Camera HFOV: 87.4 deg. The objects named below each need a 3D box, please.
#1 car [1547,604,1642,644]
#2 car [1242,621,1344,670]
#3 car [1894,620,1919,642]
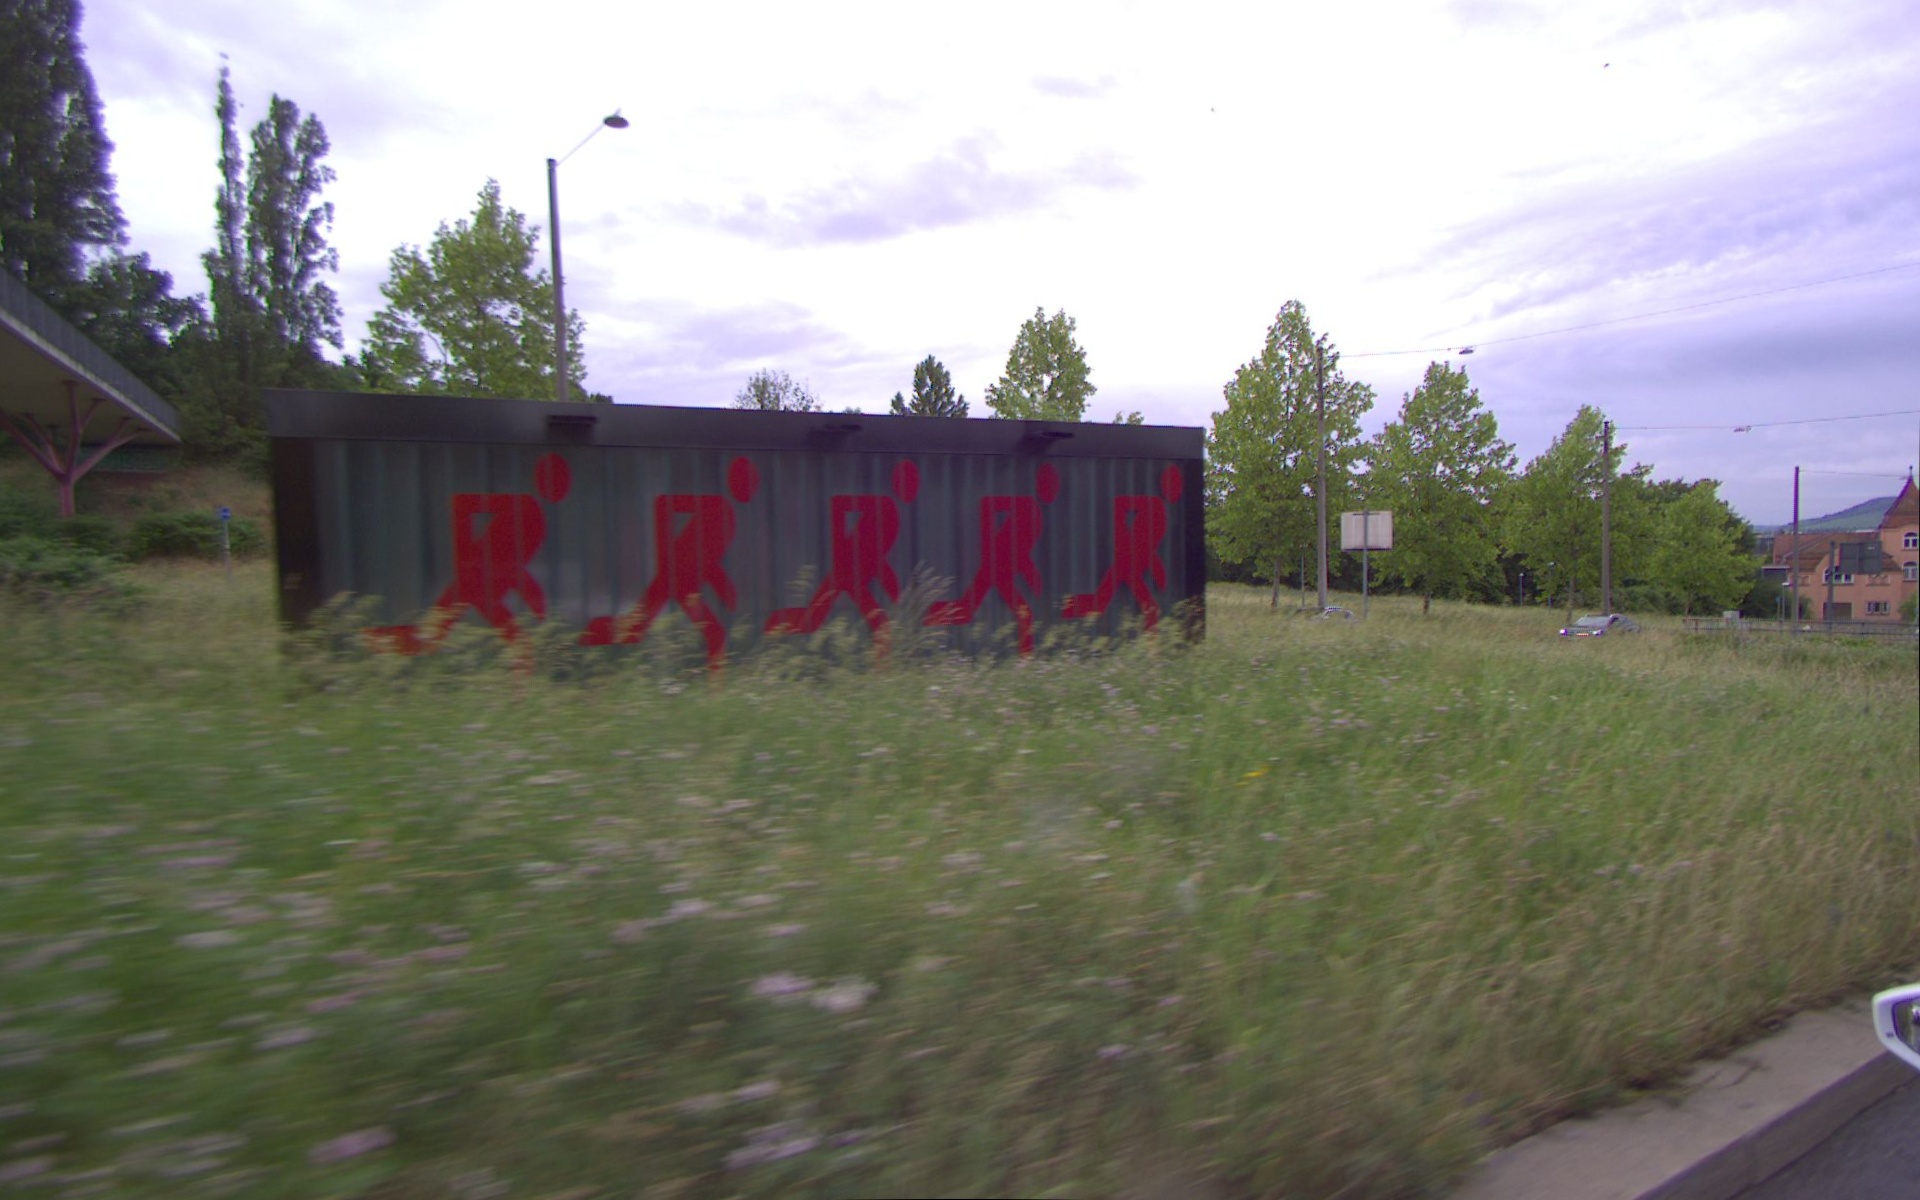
[{"bbox_3d":[26.806,1.003,42.389,4.386,1.548,1.647,1,1,-32],"label":"car"},{"bbox_3d":[12.400,1.672,37.337,3.754,1.595,1.645,1,3,-35],"label":"car"},{"bbox_3d":[74.611,2.402,78.198,3.928,1.662,1.881,1,-1,-32],"label":"car"}]
